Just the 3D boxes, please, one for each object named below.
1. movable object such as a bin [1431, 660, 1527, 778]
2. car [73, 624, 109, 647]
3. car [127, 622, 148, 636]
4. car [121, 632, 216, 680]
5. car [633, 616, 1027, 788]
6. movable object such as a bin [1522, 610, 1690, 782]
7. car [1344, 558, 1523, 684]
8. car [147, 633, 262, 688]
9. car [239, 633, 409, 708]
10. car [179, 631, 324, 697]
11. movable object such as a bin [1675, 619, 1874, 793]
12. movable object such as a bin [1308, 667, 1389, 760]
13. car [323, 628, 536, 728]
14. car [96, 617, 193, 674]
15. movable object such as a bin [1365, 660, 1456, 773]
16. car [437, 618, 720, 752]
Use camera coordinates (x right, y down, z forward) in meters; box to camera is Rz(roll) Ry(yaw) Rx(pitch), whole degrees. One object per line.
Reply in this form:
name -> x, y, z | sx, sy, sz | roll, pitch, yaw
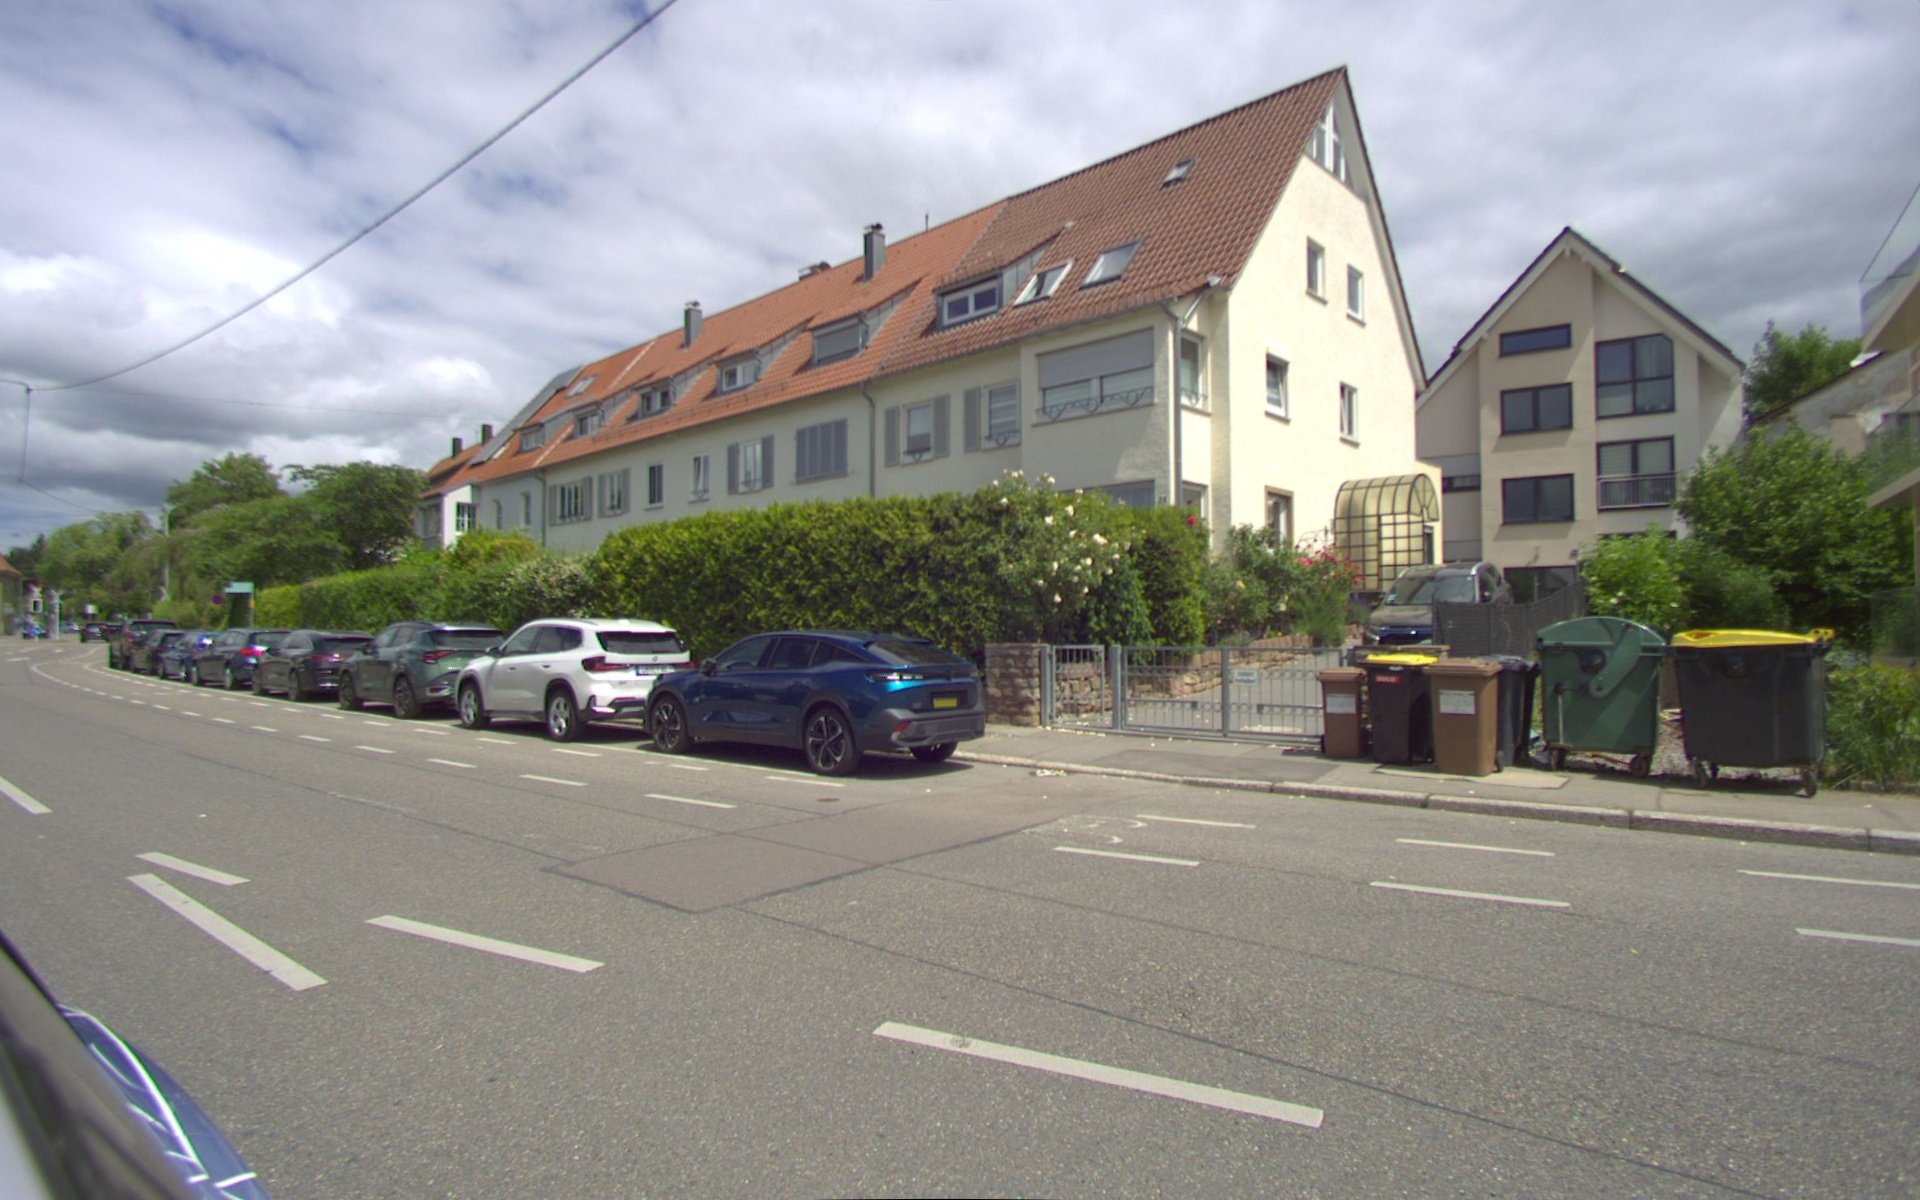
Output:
movable object such as a bin -> 4.799, 1.074, 9.351 | 0.658, 1.015, 0.589 | -2, -2, 41
car -> -69.294, 2.820, 80.744 | 1.892, 1.661, 4.301 | 6, -5, -39
car -> -96.763, 3.449, 119.059 | 1.824, 1.587, 4.166 | 0, -1, -39
car -> -25.607, 1.748, 32.697 | 4.339, 1.428, 1.758 | -2, -2, 43
car -> -1.618, 1.013, 11.635 | 4.484, 1.599, 1.974 | -1, -2, 39
movable object such as a bin -> 6.128, 0.855, 9.598 | 1.213, 1.493, 1.055 | -2, -2, 39
car -> 8.197, 0.266, 17.338 | 1.802, 1.718, 3.949 | -2, 3, 40
car -> -21.689, 1.683, 28.994 | 4.438, 1.428, 1.759 | -1, -2, 41
car -> -13.848, 1.441, 21.927 | 4.689, 1.419, 1.972 | -1, -2, 43
car -> -17.880, 1.540, 25.466 | 4.560, 1.503, 1.760 | -1, -2, 39
movable object such as a bin -> 6.846, 0.829, 8.517 | 1.214, 1.323, 1.054 | -2, -2, 42
movable object such as a bin -> 4.029, 1.156, 10.490 | 0.614, 0.886, 0.589 | -2, -2, 41
car -> -9.713, 1.302, 18.348 | 4.689, 1.576, 1.972 | -2, -2, 43
car -> -29.517, 1.636, 36.564 | 5.404, 1.909, 1.971 | -2, -4, 44
movable object such as a bin -> 4.429, 1.115, 9.949 | 0.658, 1.032, 0.589 | -2, -2, 41
car -> -5.687, 1.114, 14.829 | 4.515, 1.663, 1.973 | -1, -2, 41
